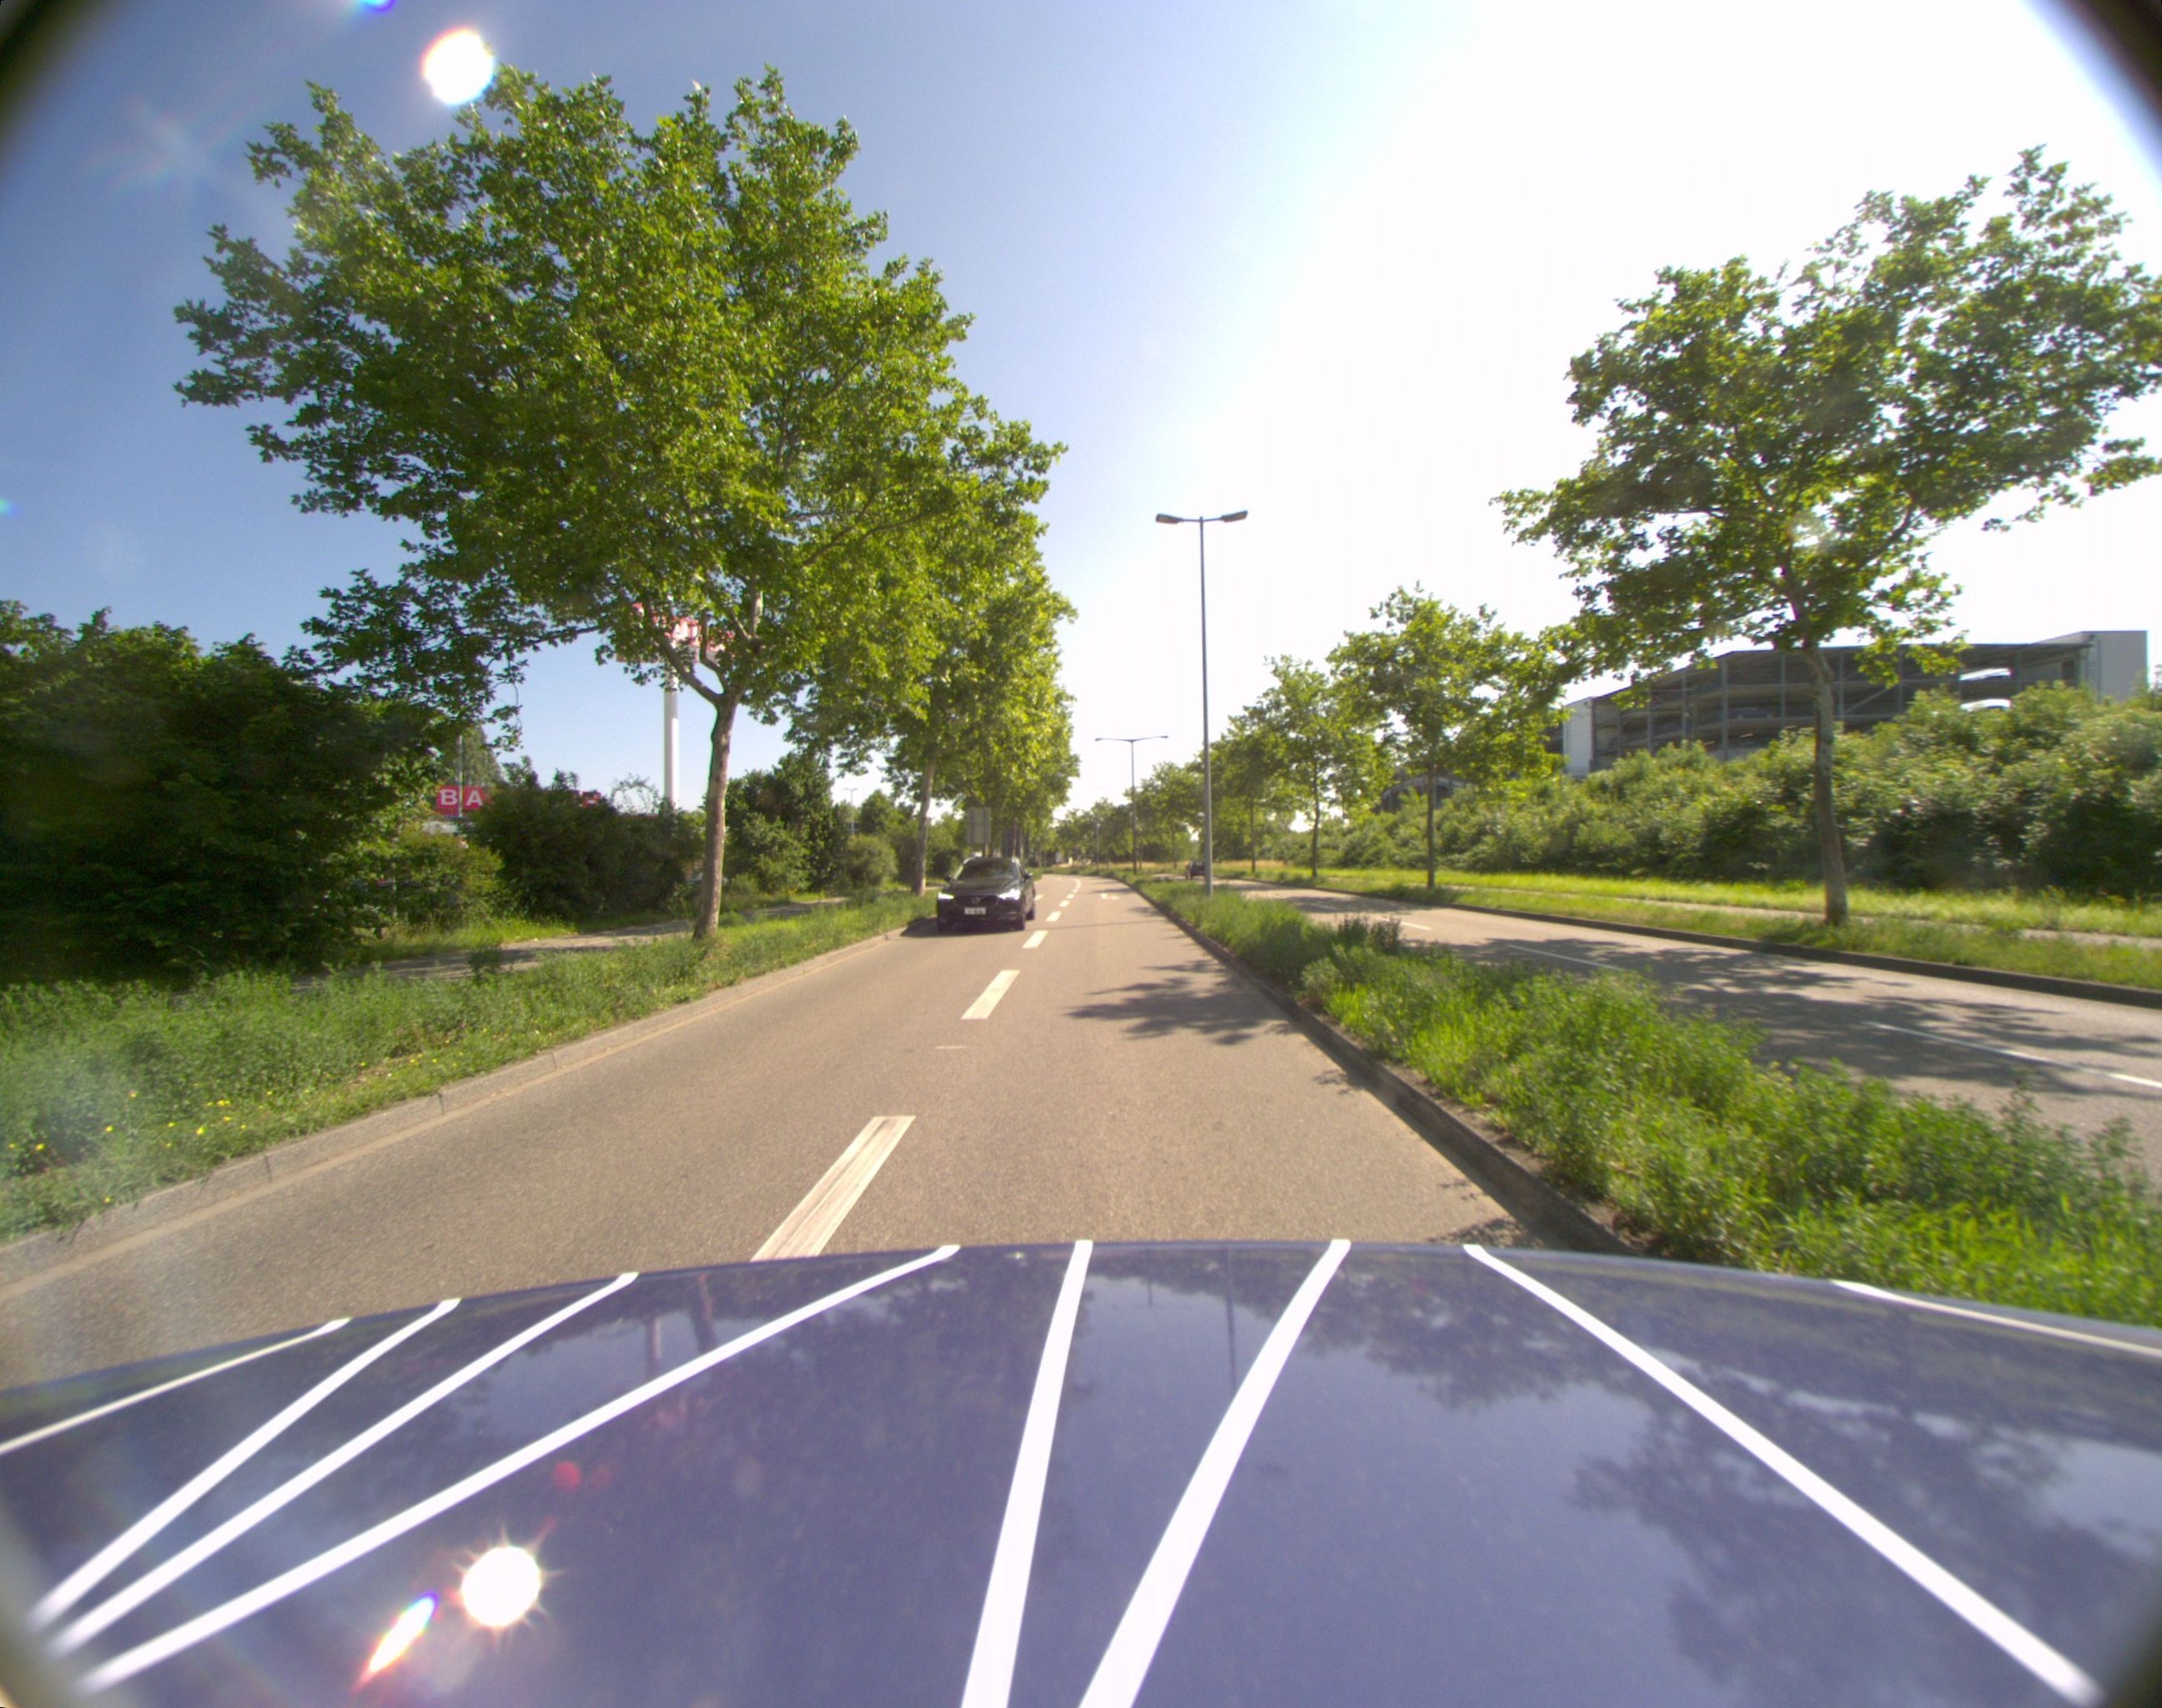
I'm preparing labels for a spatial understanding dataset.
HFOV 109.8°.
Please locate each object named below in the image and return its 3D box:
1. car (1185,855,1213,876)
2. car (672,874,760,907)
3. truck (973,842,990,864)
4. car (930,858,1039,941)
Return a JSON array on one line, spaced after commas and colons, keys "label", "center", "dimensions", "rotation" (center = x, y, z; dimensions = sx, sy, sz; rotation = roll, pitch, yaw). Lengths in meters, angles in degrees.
[{"label": "car", "center": [9.297, 0.875, 59.890], "dimensions": [1.574, 1.461, 3.927], "rotation": [-2, 0, 1]}, {"label": "car", "center": [-20.421, 2.030, 42.613], "dimensions": [3.998, 1.662, 1.697], "rotation": [-2, 1, -4]}, {"label": "truck", "center": [-18.546, -0.177, 141.090], "dimensions": [2.744, 3.872, 5.845], "rotation": [-2, 0, -11]}, {"label": "car", "center": [-2.134, 0.953, 18.100], "dimensions": [1.924, 1.613, 4.564], "rotation": [-2, 0, 0]}]
